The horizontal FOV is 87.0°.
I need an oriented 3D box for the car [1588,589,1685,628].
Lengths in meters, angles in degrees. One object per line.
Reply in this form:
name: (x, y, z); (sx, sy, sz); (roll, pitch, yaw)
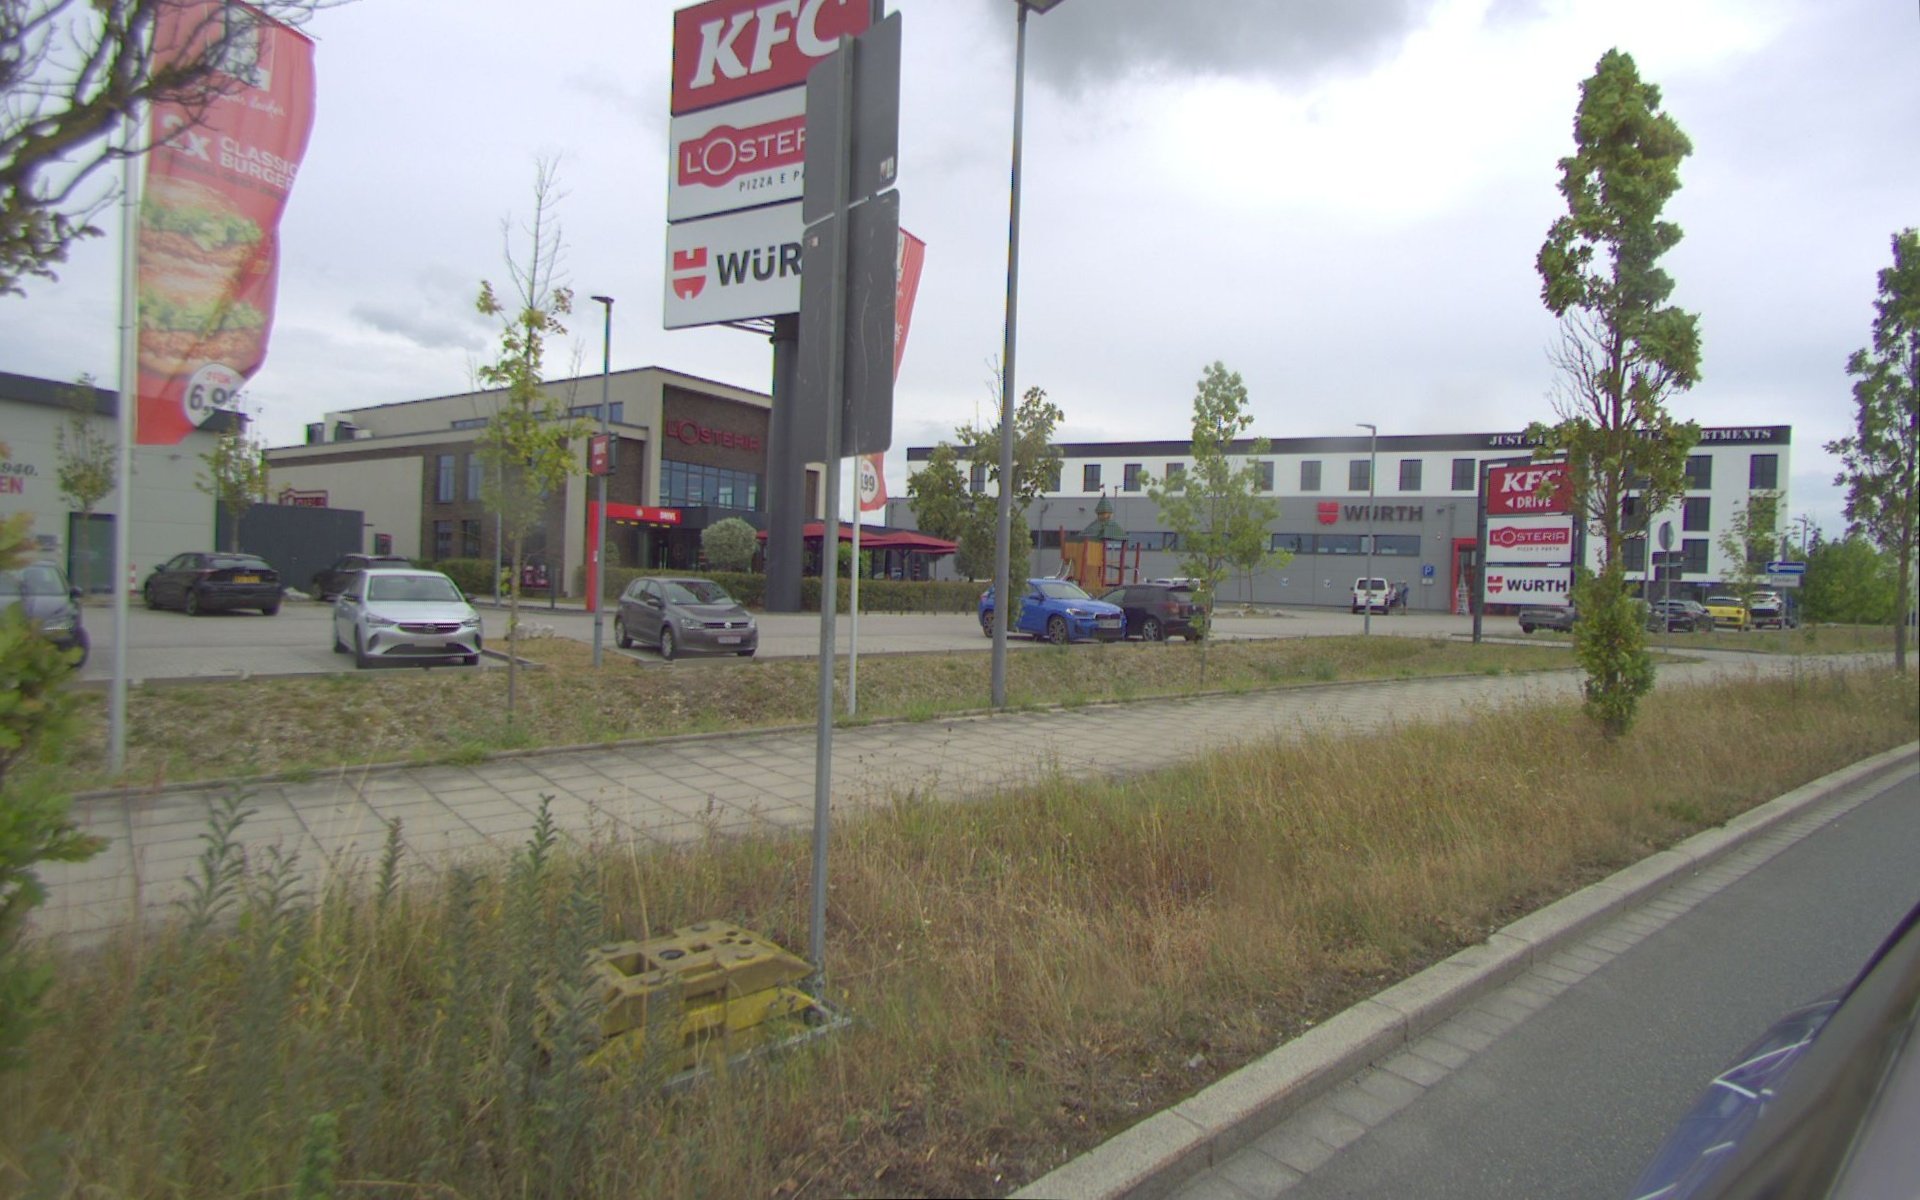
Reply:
car: (27.639, 0.367, 41.301); (4.790, 1.455, 1.869); (1, 1, -38)

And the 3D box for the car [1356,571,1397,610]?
car: (23.217, -0.517, 56.319); (1.978, 2.012, 4.599); (2, 1, 23)

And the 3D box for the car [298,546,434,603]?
car: (-18.408, -0.805, 31.310); (4.547, 1.537, 1.874); (3, 2, 35)

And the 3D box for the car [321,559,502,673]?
car: (-8.890, 0.164, 16.259); (1.868, 1.499, 3.872); (1, 3, -39)

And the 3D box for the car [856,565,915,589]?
car: (-5.093, -1.588, 69.712); (2.061, 1.537, 4.419); (3, 2, 26)

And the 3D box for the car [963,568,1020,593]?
car: (2.130, -1.293, 66.902); (2.061, 1.537, 4.534); (3, 2, 27)

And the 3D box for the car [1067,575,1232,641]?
car: (4.786, 0.153, 26.098); (1.943, 1.512, 4.003); (1, 1, -32)

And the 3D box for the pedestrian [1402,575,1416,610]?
pedestrian: (24.766, -0.402, 55.849); (0.607, 1.892, 0.796); (1, 0, 20)

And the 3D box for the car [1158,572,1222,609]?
car: (11.333, -0.461, 49.645); (1.980, 1.718, 4.749); (2, 1, 26)

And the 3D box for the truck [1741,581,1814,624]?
truck: (49.142, 0.178, 60.748); (8.075, 2.355, 2.230); (1, 1, -43)

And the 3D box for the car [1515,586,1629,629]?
car: (23.092, 0.275, 38.127); (4.740, 1.478, 1.968); (1, 1, -36)

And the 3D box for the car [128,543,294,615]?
car: (-18.656, -0.554, 25.135); (4.547, 1.537, 1.953); (3, 2, 35)

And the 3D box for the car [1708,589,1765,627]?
car: (37.566, 0.390, 48.927); (1.763, 1.707, 4.342); (3, 1, 43)

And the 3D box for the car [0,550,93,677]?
car: (-12.958, 0.096, 13.634); (1.906, 1.503, 3.995); (0, 2, -40)

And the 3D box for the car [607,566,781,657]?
car: (-5.094, 0.154, 19.073); (1.855, 1.512, 3.769); (1, 1, -37)

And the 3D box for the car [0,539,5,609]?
car: (-23.329, -0.678, 22.678); (4.550, 1.537, 2.054); (4, 2, 36)

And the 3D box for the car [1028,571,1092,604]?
car: (5.281, -0.650, 52.946); (1.966, 1.649, 4.288); (2, 1, 26)

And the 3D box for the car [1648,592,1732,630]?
car: (32.537, 0.444, 45.070); (4.526, 1.515, 1.998); (-1, 2, -40)

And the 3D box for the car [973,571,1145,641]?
car: (2.358, 0.100, 25.154); (1.928, 1.539, 4.277); (1, 1, -35)
